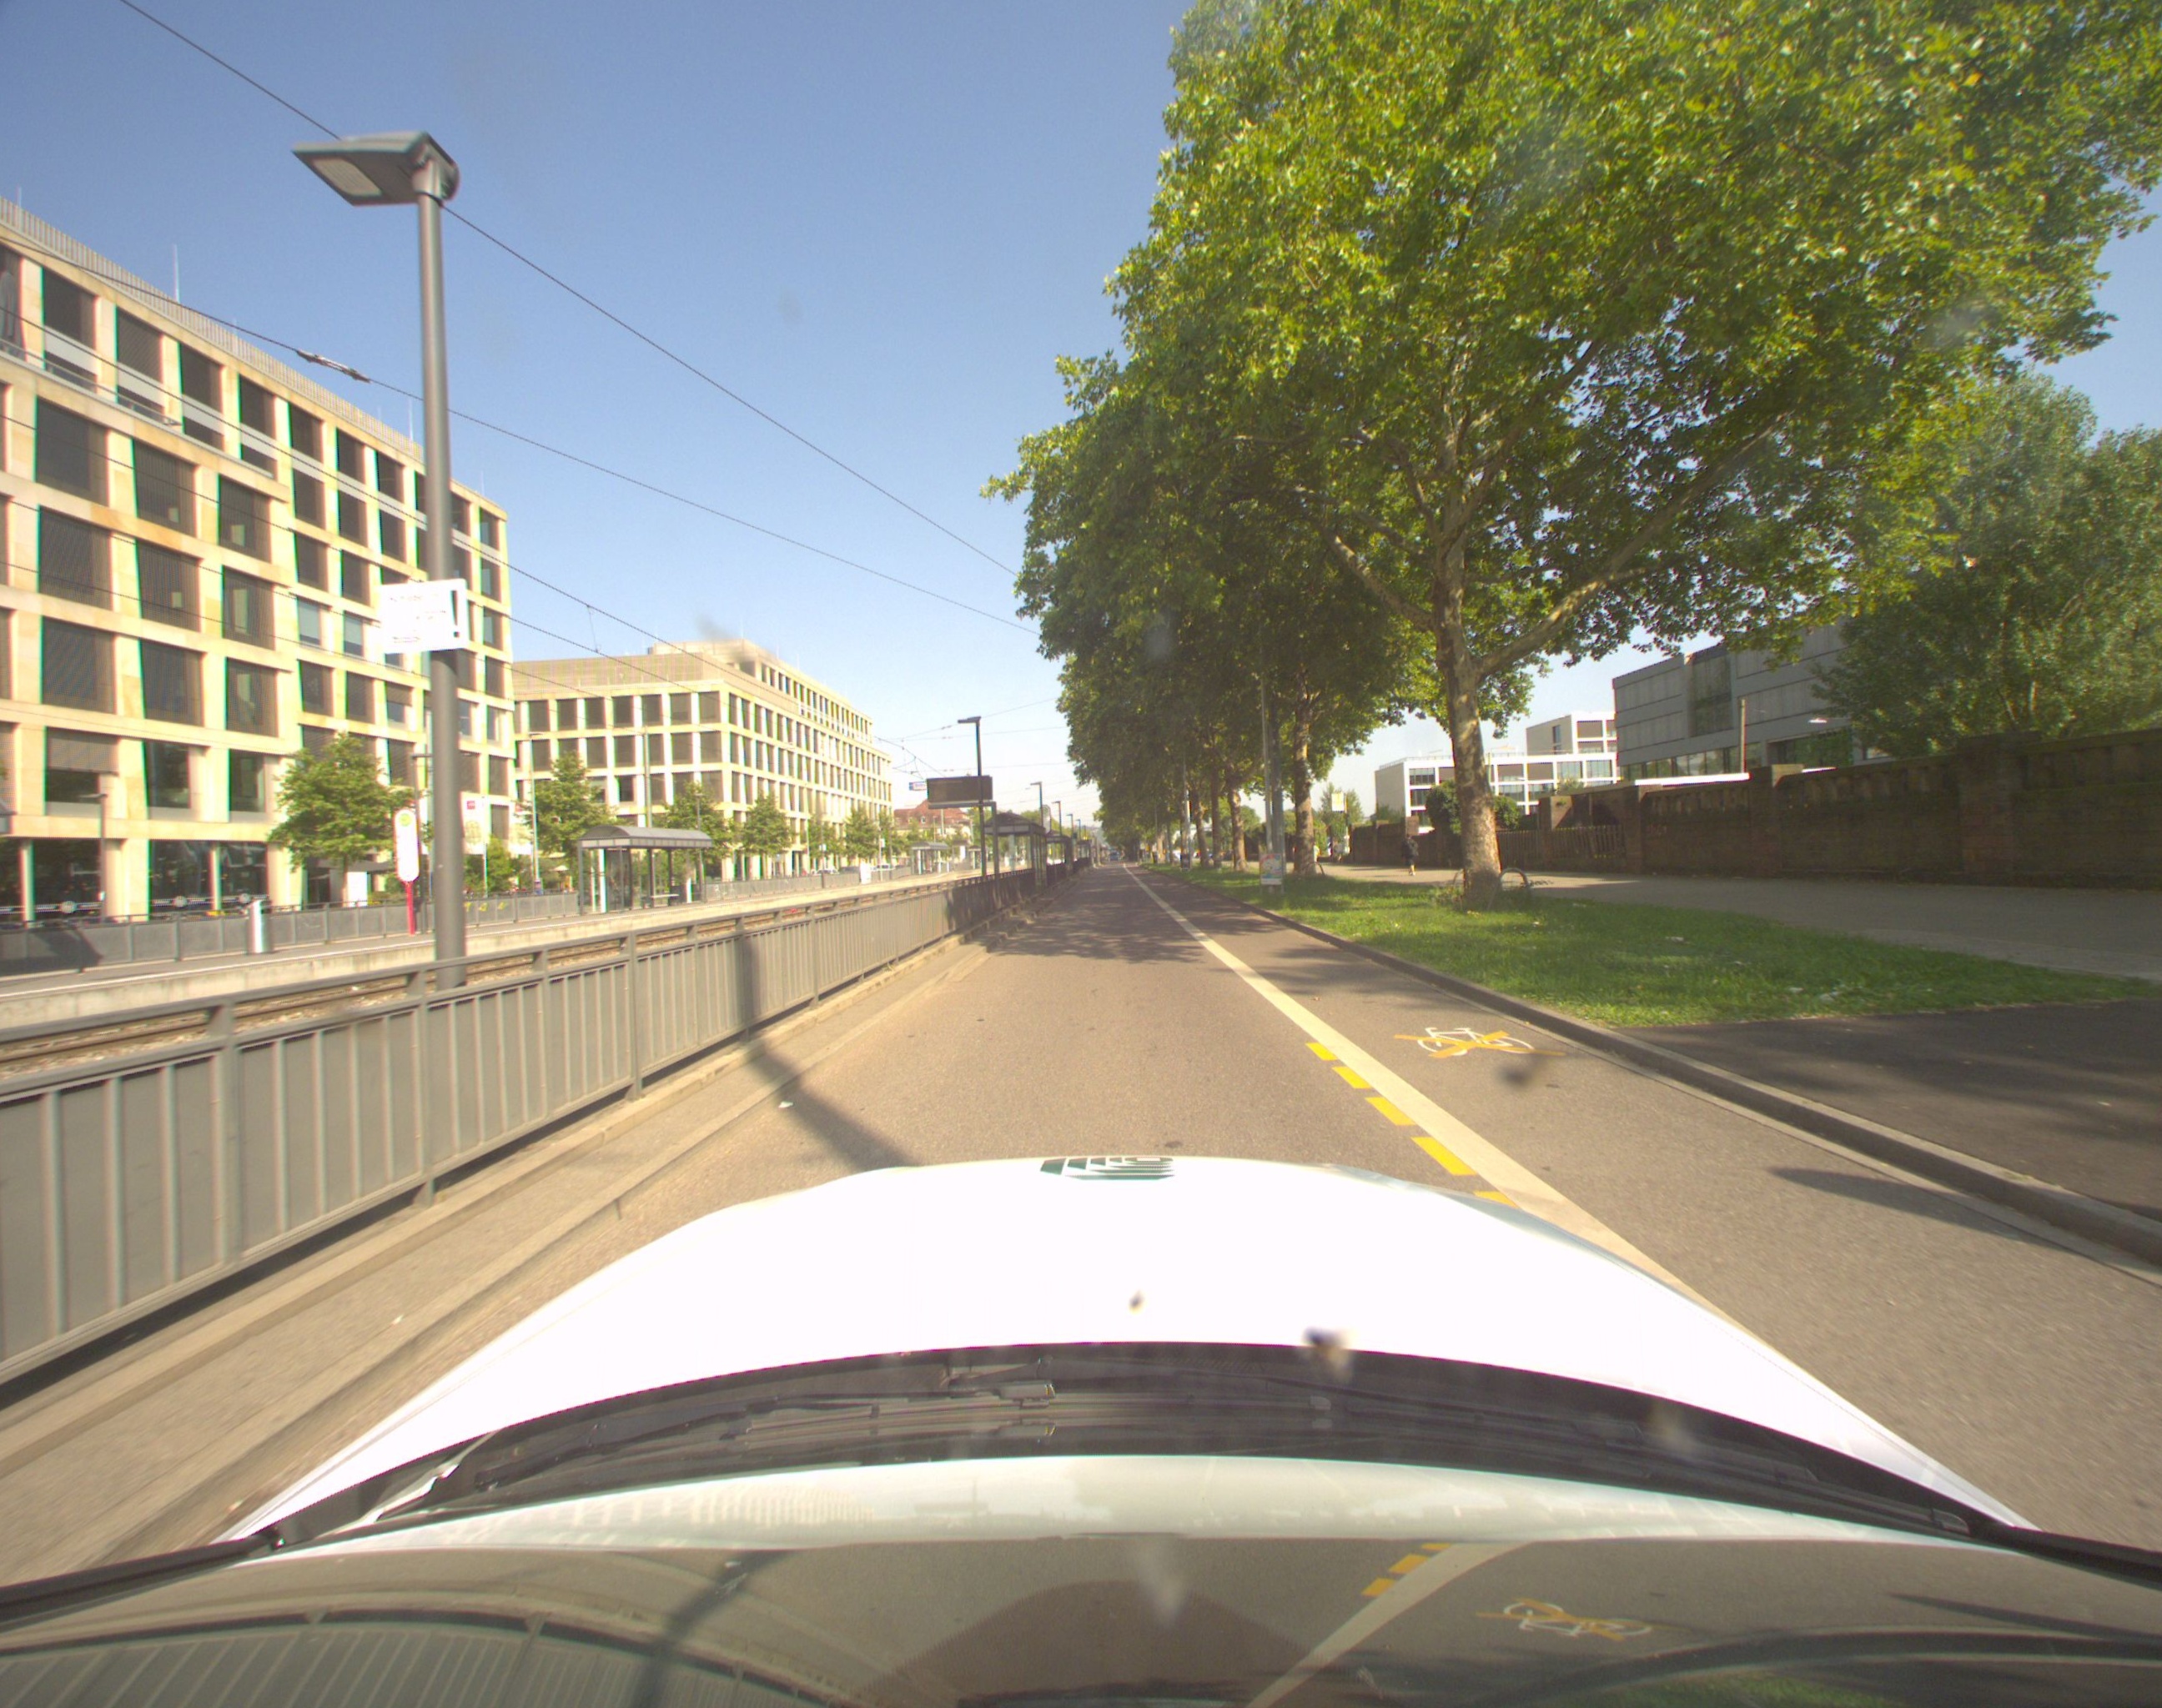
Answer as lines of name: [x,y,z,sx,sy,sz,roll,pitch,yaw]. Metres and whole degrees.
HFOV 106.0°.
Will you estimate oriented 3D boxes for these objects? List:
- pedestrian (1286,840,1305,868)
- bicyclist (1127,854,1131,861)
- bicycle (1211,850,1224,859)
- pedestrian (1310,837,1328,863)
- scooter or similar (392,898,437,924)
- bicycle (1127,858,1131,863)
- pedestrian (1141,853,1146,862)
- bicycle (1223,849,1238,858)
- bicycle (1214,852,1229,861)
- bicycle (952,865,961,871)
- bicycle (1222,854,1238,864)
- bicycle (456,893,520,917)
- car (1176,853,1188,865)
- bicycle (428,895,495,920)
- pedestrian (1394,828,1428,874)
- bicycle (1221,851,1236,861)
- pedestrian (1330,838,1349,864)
pedestrian: [12.829,0.013,48.667,0.803,1.636,0.948,-4,-1,2]
bicyclist: [9.872,0.749,166.715,0.703,1.461,1.010,-2,-1,3]
bicycle: [16.330,0.038,97.463,0.509,0.969,1.642,-4,-1,-39]
pedestrian: [15.289,-0.235,52.411,0.803,1.604,0.948,-4,-1,2]
scooter or similar: [-28.027,2.403,34.232,1.517,0.986,0.395,-3,0,0]
bicycle: [9.891,1.335,166.624,0.712,1.107,2.510,-2,-1,3]
pedestrian: [11.601,0.604,151.098,0.618,1.617,0.850,-3,0,40]
bicycle: [18.009,-0.100,98.121,1.648,0.969,0.507,-5,-1,4]
bicycle: [16.577,0.256,96.128,0.509,0.969,1.642,-4,-1,-39]
bicycle: [-13.735,1.541,89.855,0.474,0.662,1.616,-3,0,7]
bicycle: [16.445,0.569,90.020,1.647,0.969,0.507,-5,-1,7]
bicycle: [-28.265,2.434,38.841,2.425,0.986,0.822,-3,0,0]
car: [18.342,0.913,147.906,1.715,2.048,4.464,-3,0,3]
bicycle: [-28.519,2.465,37.529,2.425,0.986,0.822,-3,0,0]
pedestrian: [12.774,-0.119,31.562,0.816,1.686,1.013,-3,0,2]
bicycle: [16.963,0.217,93.704,1.647,0.969,0.507,-5,-1,7]
pedestrian: [16.594,-0.216,52.278,0.803,1.604,0.948,-4,-1,2]
